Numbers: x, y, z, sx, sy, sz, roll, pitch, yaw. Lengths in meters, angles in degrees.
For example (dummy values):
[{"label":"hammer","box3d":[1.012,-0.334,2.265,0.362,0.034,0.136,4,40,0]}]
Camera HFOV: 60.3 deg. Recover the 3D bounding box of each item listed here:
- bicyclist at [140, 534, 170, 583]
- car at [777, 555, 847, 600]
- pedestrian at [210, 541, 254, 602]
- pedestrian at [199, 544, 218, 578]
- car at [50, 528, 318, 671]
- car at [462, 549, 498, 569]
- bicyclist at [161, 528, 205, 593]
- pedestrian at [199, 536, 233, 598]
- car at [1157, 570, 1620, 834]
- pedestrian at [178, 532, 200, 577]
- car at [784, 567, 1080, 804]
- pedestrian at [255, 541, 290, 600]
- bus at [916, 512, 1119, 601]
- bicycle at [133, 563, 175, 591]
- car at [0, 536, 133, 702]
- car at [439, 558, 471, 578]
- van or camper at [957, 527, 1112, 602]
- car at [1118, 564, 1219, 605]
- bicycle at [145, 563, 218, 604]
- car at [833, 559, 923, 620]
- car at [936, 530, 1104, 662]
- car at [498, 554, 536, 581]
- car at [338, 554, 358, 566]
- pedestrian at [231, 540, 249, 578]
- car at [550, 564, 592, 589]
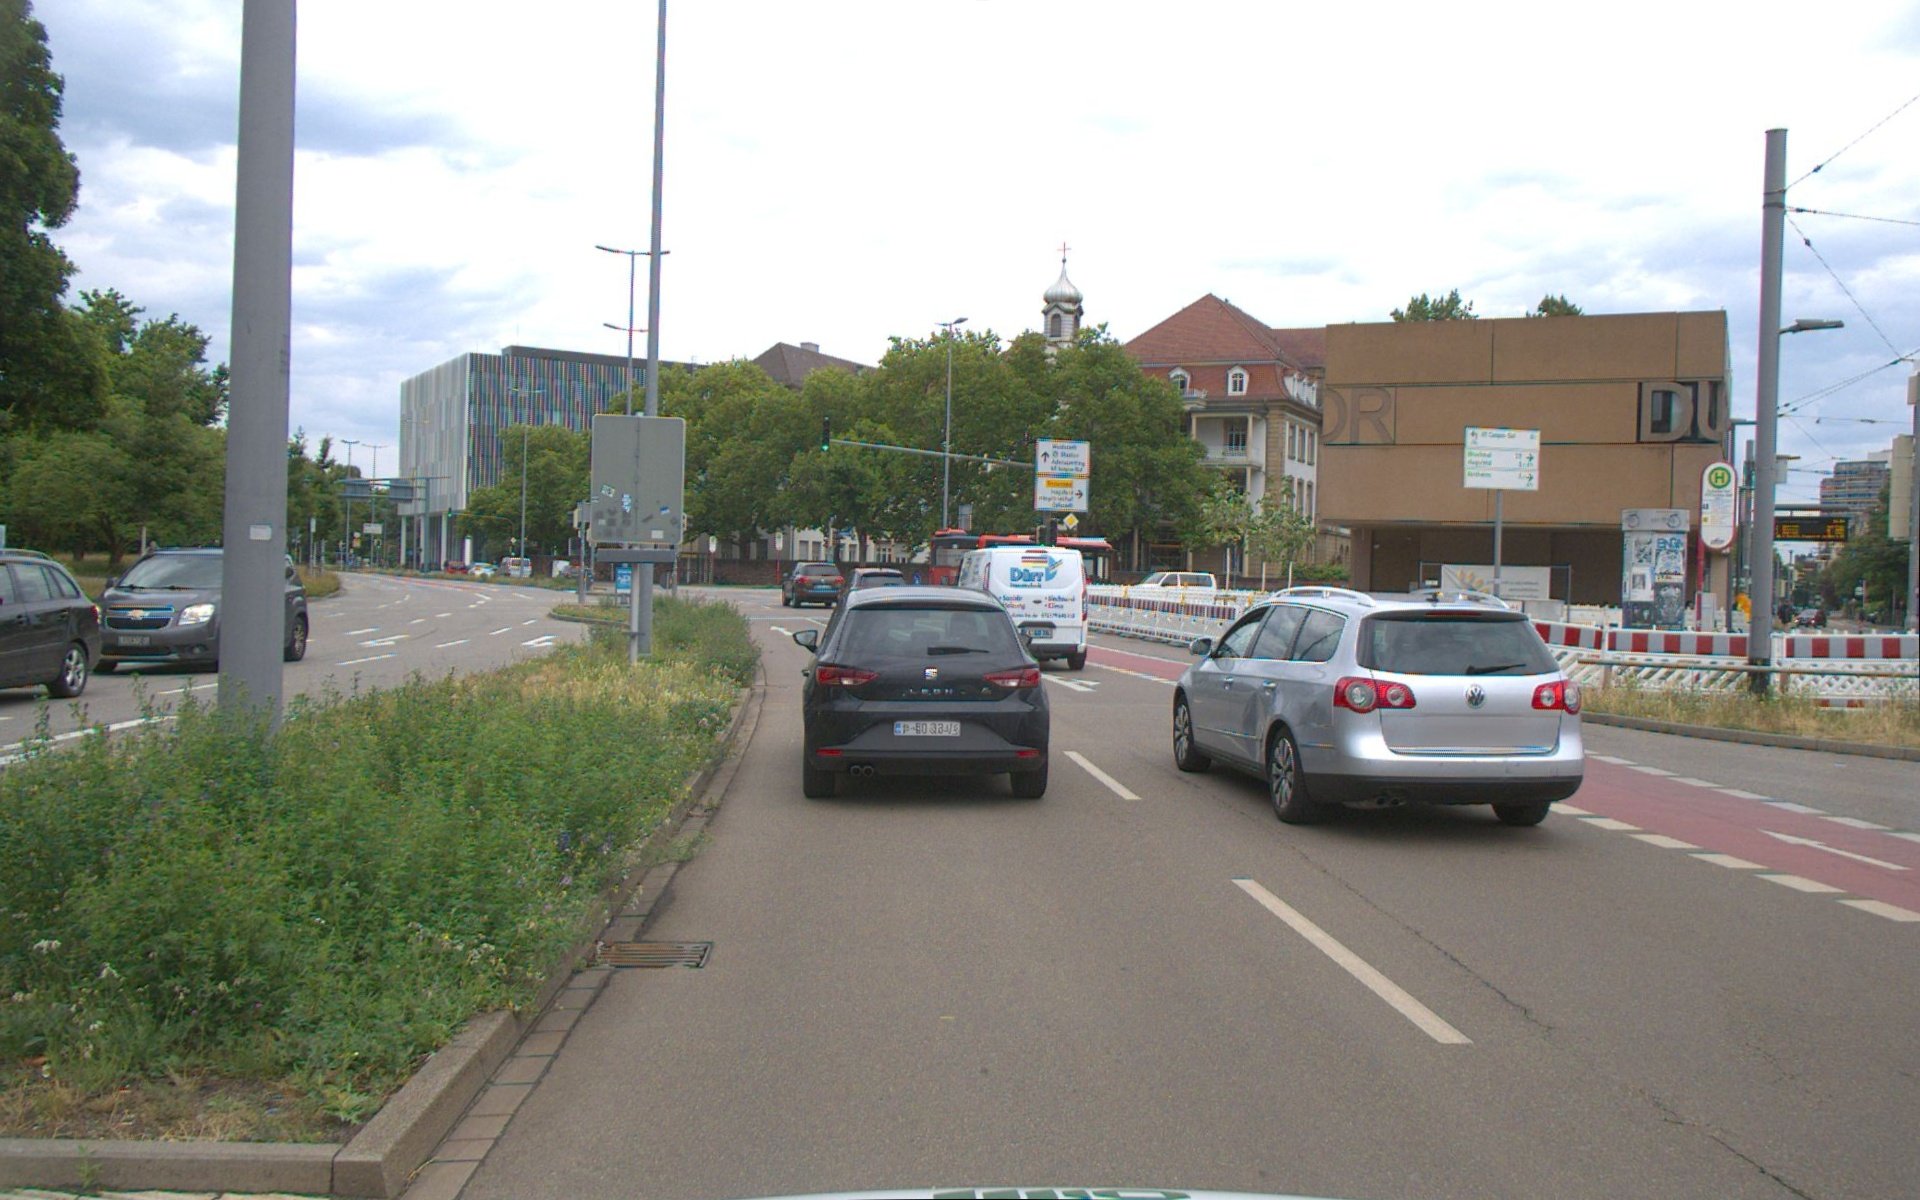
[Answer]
[{"label":"bicyclist","box3d":[-26.758,-1.371,54.977,0.702,1.597,0.710,2,0,-10]},{"label":"car","box3d":[-5.590,-0.853,62.039,1.960,1.593,4.189,1,1,-15]},{"label":"pedestrian","box3d":[-22.967,-0.899,52.213,1.029,1.874,0.864,1,1,-8]},{"label":"pedestrian","box3d":[-39.962,-2.079,87.936,0.743,1.796,0.902,1,1,-17]},{"label":"car","box3d":[-10.457,-0.042,22.700,1.834,1.755,4.707,0,1,-5]},{"label":"car","box3d":[-39.944,-3.418,137.479,1.973,1.668,3.959,0,1,-30]},{"label":"bicyclist","box3d":[-22.717,-1.157,48.357,0.774,1.876,0.834,2,1,22]},{"label":"pedestrian","box3d":[-22.844,-1.005,50.778,0.742,1.874,0.765,0,1,-8]},{"label":"car","box3d":[2.778,0.552,11.909,1.687,1.508,4.622,0,1,-6]},{"label":"pedestrian","box3d":[-35.668,-2.089,76.519,0.743,2.049,1.042,1,1,-17]},{"label":"car","box3d":[-0.376,0.515,12.658,1.713,1.489,3.992,-1,1,-9]},{"label":"pedestrian","box3d":[-22.564,-0.965,54.263,0.876,1.874,0.666,1,1,-8]},{"label":"bus","box3d":[2.737,-1.750,70.721,3.003,3.355,12.350,2,1,31]},{"label":"bicycle","box3d":[-26.774,-0.749,54.965,0.702,0.898,1.879,2,0,-9]},{"label":"car","box3d":[-9.856,0.179,15.817,1.833,1.534,4.476,-1,1,-3]},{"label":"car","box3d":[-45.709,-2.923,149.679,1.972,1.711,3.973,1,1,-28]},{"label":"van or camper","box3d":[3.627,-1.659,79.892,7.051,3.390,2.849,1,-1,-30]},{"label":"car","box3d":[10.584,-0.753,83.817,4.933,1.897,1.980,1,-2,-29]},{"label":"bicycle","box3d":[-22.742,-0.481,48.345,0.773,1.179,1.906,2,1,22]},{"label":"car","box3d":[-2.387,-0.327,47.011,1.826,1.628,4.191,1,1,-13]},{"label":"car","box3d":[0.922,-0.107,28.794,1.957,2.054,5.022,1,1,-9]},{"label":"car","box3d":[-34.034,-2.518,127.080,1.971,2.048,3.964,1,1,-28]},{"label":"car","box3d":[-69.317,-4.556,187.187,1.692,1.287,3.309,1,1,-28]},{"label":"pedestrian","box3d":[-39.843,-2.268,91.478,0.743,2.049,1.042,1,1,-17]},{"label":"car","box3d":[-28.402,-1.732,120.718,1.897,1.713,3.960,1,1,-30]}]
